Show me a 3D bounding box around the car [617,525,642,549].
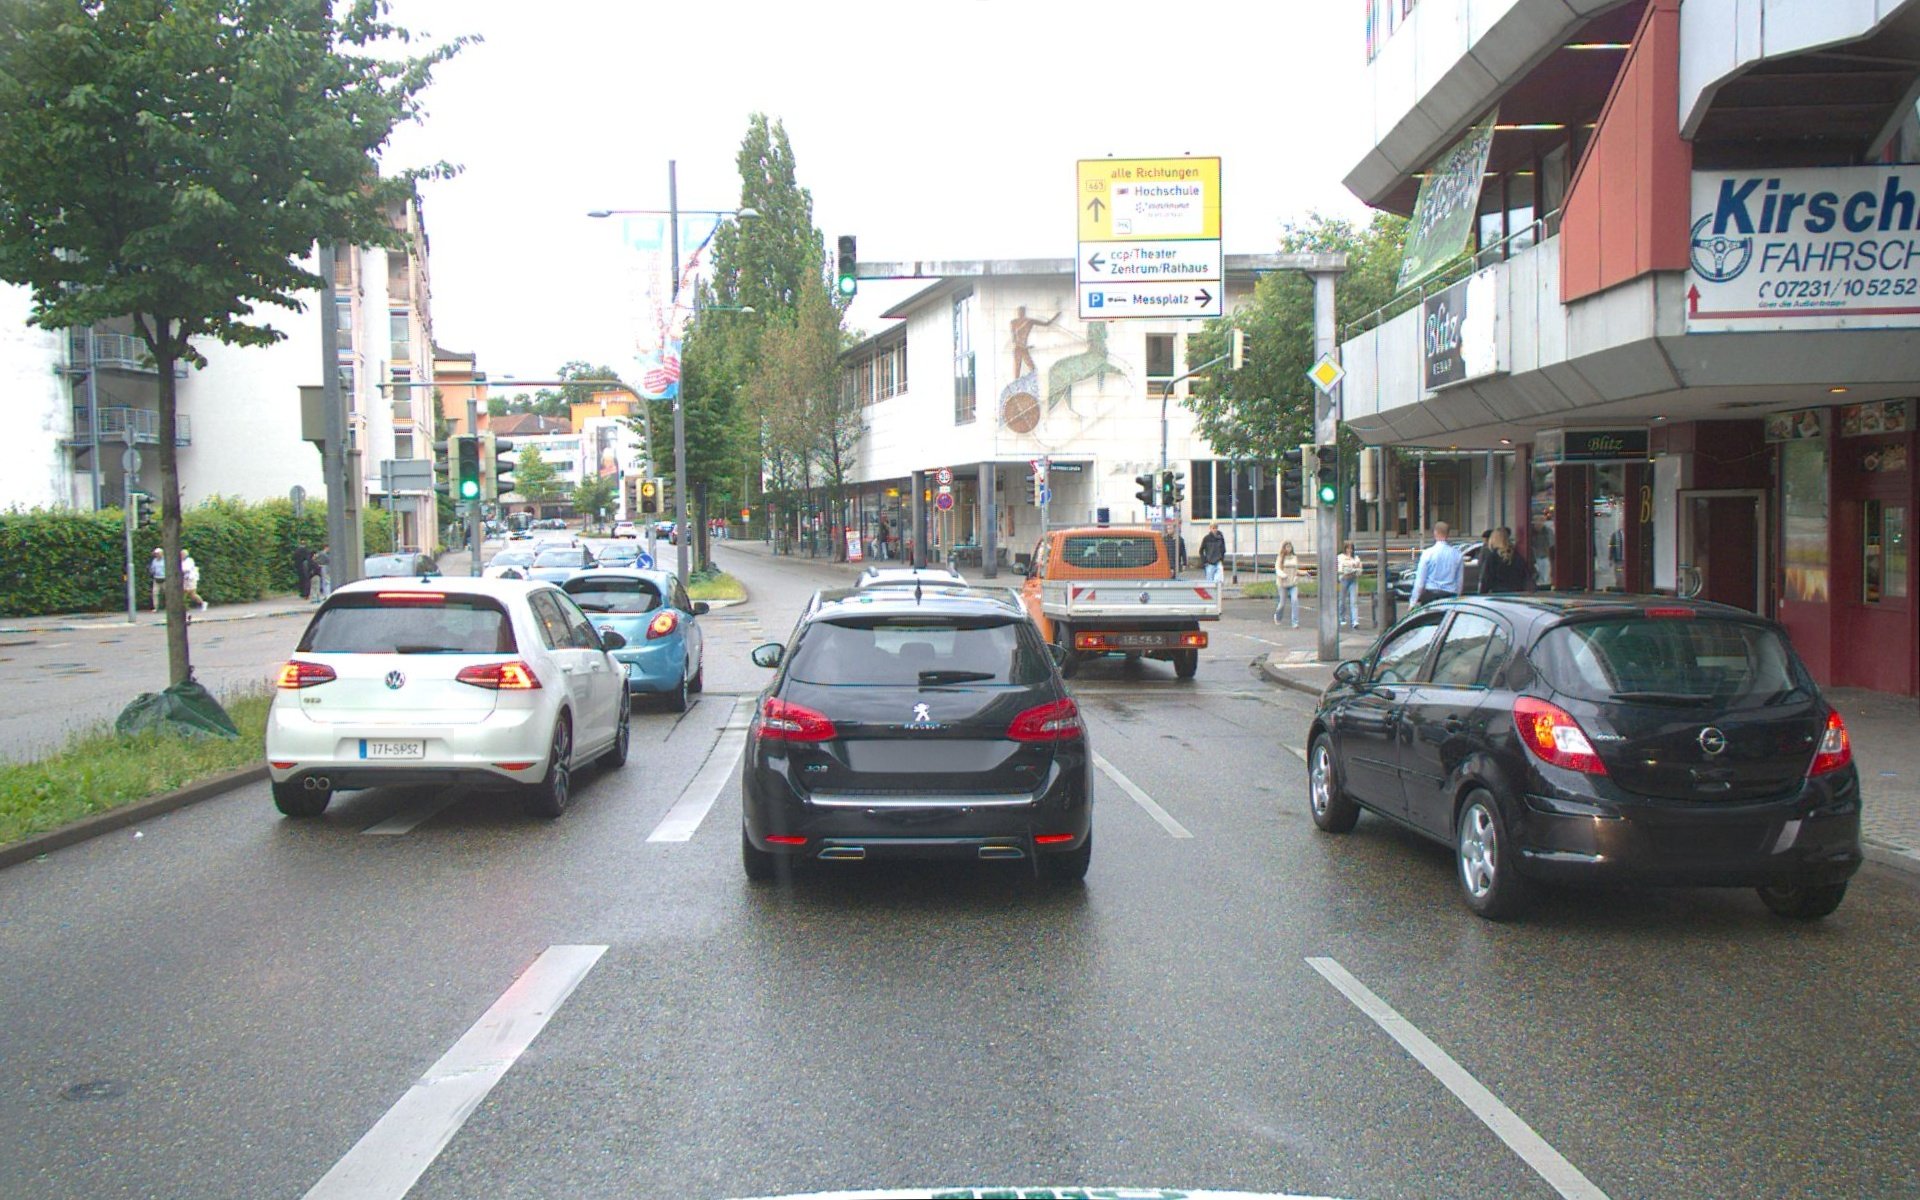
[{"bbox_3d":[-29.296,-5.528,146.482,1.679,1.915,3.980,1,-1,-18],"label":"car"}]

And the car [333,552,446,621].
[{"bbox_3d":[-13.112,-0.351,38.192,1.543,1.512,3.607,1,2,-4],"label":"car"}]

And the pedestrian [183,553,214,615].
[{"bbox_3d":[-20.304,-0.431,44.093,0.569,1.627,0.526,1,-1,-7],"label":"pedestrian"}]

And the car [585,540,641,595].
[{"bbox_3d":[-11.407,-1.038,54.507,1.713,1.669,3.989,1,-1,-11],"label":"car"}]

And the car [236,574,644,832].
[{"bbox_3d":[-3.339,0.566,11.395,1.742,1.454,3.840,1,1,-3],"label":"car"}]

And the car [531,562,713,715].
[{"bbox_3d":[-3.681,0.354,18.519,1.601,1.512,3.606,1,2,-6],"label":"car"}]

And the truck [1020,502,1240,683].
[{"bbox_3d":[2.190,-0.155,22.896,2.134,2.210,5.016,1,2,-5],"label":"truck"}]

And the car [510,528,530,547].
[{"bbox_3d":[-52.161,-7.372,195.921,1.964,2.049,3.976,1,-1,-20],"label":"car"}]

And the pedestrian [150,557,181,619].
[{"bbox_3d":[-21.093,-0.303,43.908,0.569,1.627,0.526,1,-1,-7],"label":"pedestrian"}]

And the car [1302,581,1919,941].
[{"bbox_3d":[3.119,0.651,8.779,1.584,1.454,3.839,1,1,-4],"label":"car"}]

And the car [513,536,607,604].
[{"bbox_3d":[-10.381,-0.739,43.169,1.710,1.607,3.996,1,-1,-4],"label":"car"}]

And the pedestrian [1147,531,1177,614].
[{"bbox_3d":[4.387,-0.591,35.937,0.623,1.788,0.734,1,-1,6],"label":"pedestrian"}]

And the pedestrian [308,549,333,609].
[{"bbox_3d":[-19.280,-0.636,49.844,0.529,1.778,0.746,1,-1,-9],"label":"pedestrian"}]

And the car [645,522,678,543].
[{"bbox_3d":[-25.589,-5.774,141.608,1.702,1.516,4.697,1,-1,-24],"label":"car"}]

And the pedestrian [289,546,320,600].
[{"bbox_3d":[-20.592,-0.831,51.966,0.624,1.671,0.734,1,-1,2],"label":"pedestrian"}]

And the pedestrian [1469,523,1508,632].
[{"bbox_3d":[8.428,-0.357,26.399,0.417,1.712,0.450,-1,-1,-2],"label":"pedestrian"}]

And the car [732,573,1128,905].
[{"bbox_3d":[-0.175,0.589,9.260,1.742,1.454,3.841,1,1,-1],"label":"car"}]

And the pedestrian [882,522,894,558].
[{"bbox_3d":[-3.602,-2.997,82.540,0.461,1.778,0.537,1,-1,-21],"label":"pedestrian"}]

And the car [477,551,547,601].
[{"bbox_3d":[-14.214,-0.782,52.599,1.602,1.512,3.605,1,2,-7],"label":"car"}]

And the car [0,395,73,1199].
[{"bbox_3d":[-3.014,0.452,1.418,1.873,1.903,5.071,1,-1,-2],"label":"car"}]

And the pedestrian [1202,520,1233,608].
[{"bbox_3d":[5.788,-0.801,37.170,0.623,1.930,0.734,1,-1,6],"label":"pedestrian"}]

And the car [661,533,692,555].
[{"bbox_3d":[-21.270,-4.210,123.966,1.759,1.479,4.486,-3,3,-17],"label":"car"}]

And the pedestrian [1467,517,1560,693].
[{"bbox_3d":[6.433,0.057,19.265,0.721,1.968,0.640,-4,-1,-1],"label":"pedestrian"}]

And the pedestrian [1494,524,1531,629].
[{"bbox_3d":[8.929,-0.370,26.739,0.388,1.668,0.504,-1,-1,0],"label":"pedestrian"}]

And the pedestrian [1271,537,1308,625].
[{"bbox_3d":[6.436,-0.360,32.299,0.623,1.688,0.734,1,-1,6],"label":"pedestrian"}]

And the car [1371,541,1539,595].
[{"bbox_3d":[12.051,-0.769,40.433,3.610,1.233,1.836,1,-1,3],"label":"car"}]

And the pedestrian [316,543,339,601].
[{"bbox_3d":[-19.646,-0.872,51.377,0.528,1.778,0.564,1,-1,-6],"label":"pedestrian"}]

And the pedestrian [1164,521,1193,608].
[{"bbox_3d":[4.932,-0.794,37.355,0.623,1.930,0.734,1,-1,6],"label":"pedestrian"}]

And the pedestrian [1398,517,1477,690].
[{"bbox_3d":[5.539,0.048,19.220,0.721,1.968,0.640,1,-1,-1],"label":"pedestrian"}]

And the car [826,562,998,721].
[{"bbox_3d":[-0.499,0.360,18.023,1.662,1.512,3.793,1,2,-1],"label":"car"}]

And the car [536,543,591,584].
[{"bbox_3d":[-15.051,-1.399,62.896,1.602,1.512,3.605,1,2,-7],"label":"car"}]

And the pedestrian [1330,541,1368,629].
[{"bbox_3d":[7.562,-0.281,32.149,0.623,1.688,0.734,1,-1,6],"label":"pedestrian"}]
